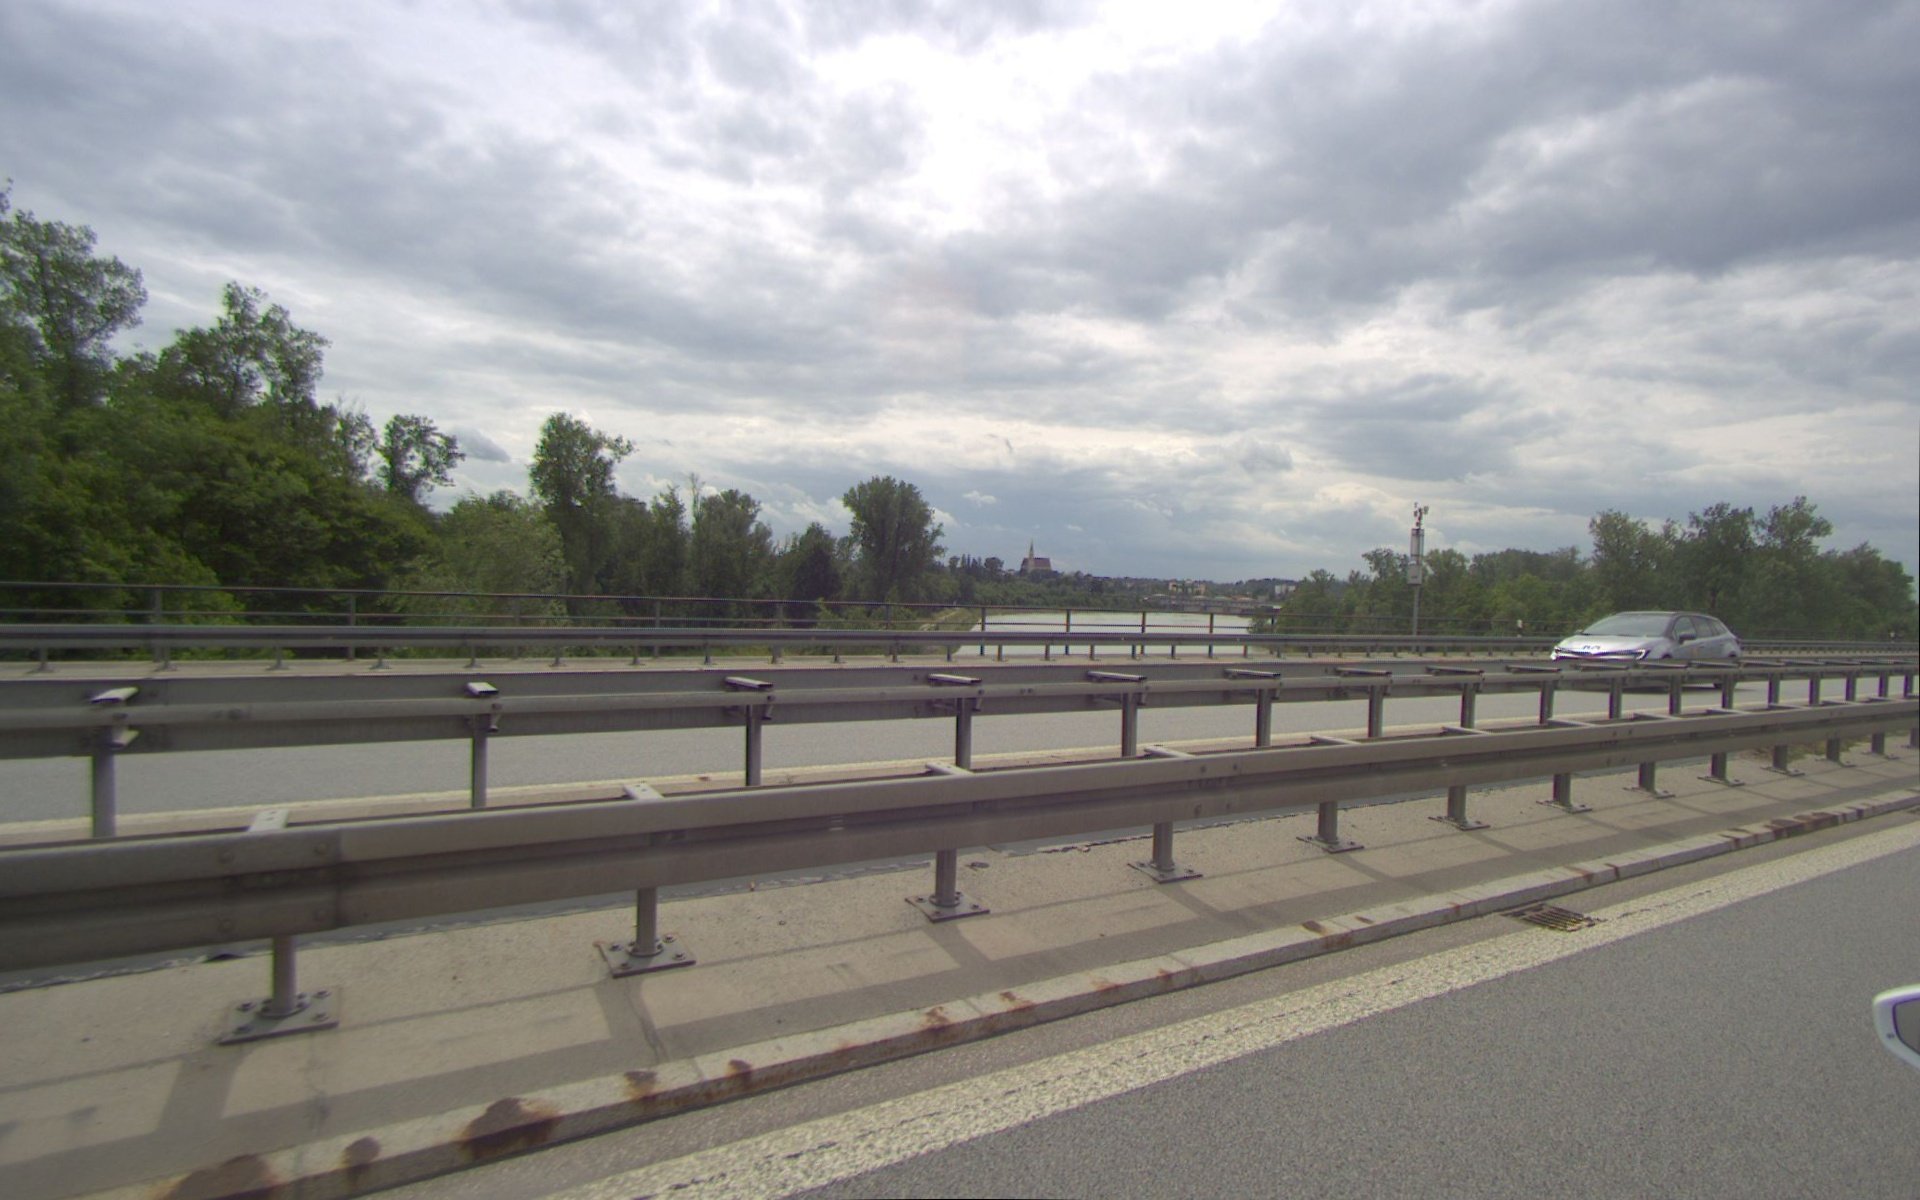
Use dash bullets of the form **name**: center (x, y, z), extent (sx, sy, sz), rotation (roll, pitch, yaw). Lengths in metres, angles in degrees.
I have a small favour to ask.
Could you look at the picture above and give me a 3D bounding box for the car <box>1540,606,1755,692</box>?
- **car**: center (12.803, 0.871, 18.636), extent (4.340, 1.405, 1.762), rotation (1, 0, -33)
